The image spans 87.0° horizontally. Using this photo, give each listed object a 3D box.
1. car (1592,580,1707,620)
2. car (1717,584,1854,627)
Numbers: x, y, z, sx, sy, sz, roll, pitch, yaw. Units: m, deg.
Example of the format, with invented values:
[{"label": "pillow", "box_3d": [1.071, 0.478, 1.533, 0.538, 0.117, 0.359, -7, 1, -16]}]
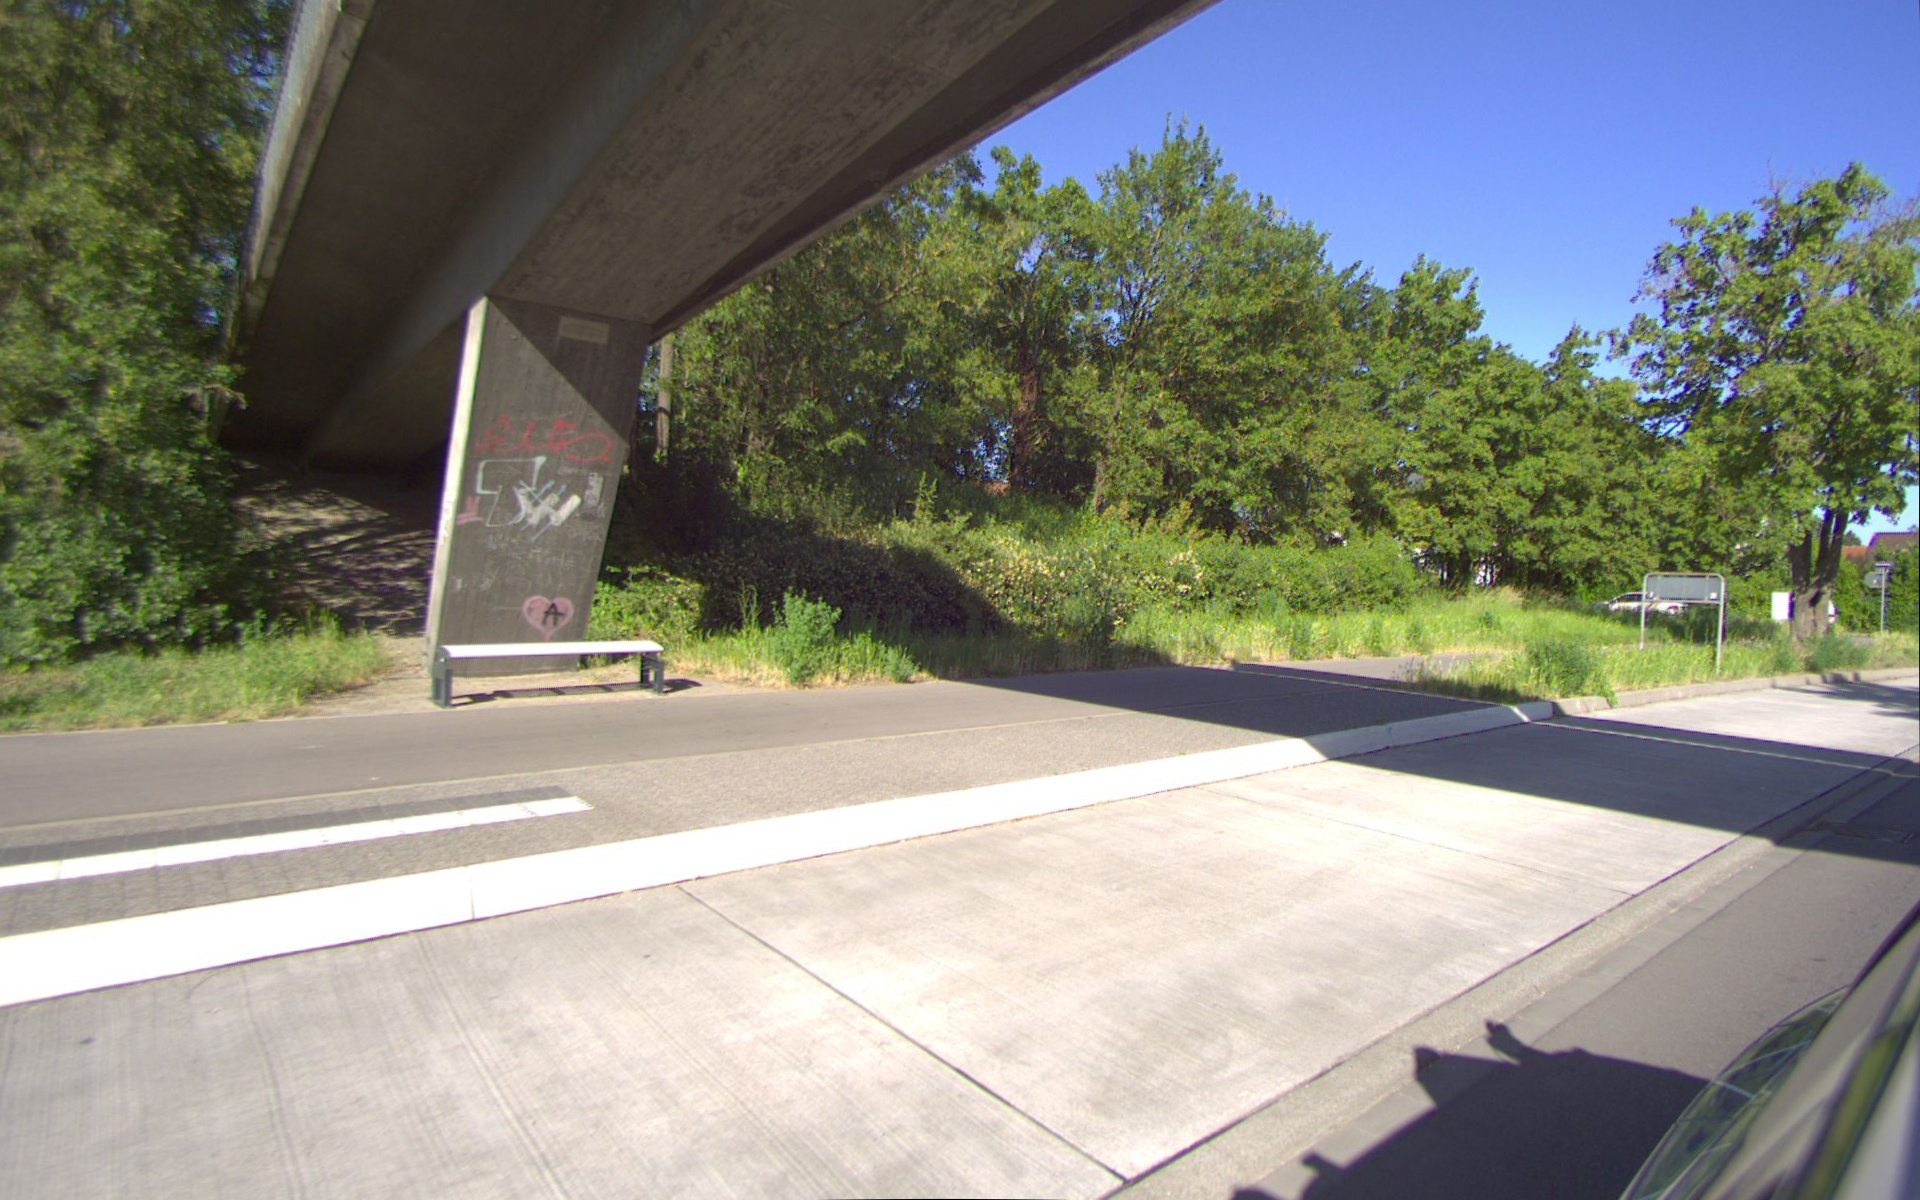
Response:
[{"label": "car", "box_3d": [36.049, -0.012, 53.022, 2.030, 1.892, 4.536, 3, 0, -32]}, {"label": "car", "box_3d": [39.198, 0.226, 48.160, 1.894, 1.824, 4.650, 3, 0, -32]}]
